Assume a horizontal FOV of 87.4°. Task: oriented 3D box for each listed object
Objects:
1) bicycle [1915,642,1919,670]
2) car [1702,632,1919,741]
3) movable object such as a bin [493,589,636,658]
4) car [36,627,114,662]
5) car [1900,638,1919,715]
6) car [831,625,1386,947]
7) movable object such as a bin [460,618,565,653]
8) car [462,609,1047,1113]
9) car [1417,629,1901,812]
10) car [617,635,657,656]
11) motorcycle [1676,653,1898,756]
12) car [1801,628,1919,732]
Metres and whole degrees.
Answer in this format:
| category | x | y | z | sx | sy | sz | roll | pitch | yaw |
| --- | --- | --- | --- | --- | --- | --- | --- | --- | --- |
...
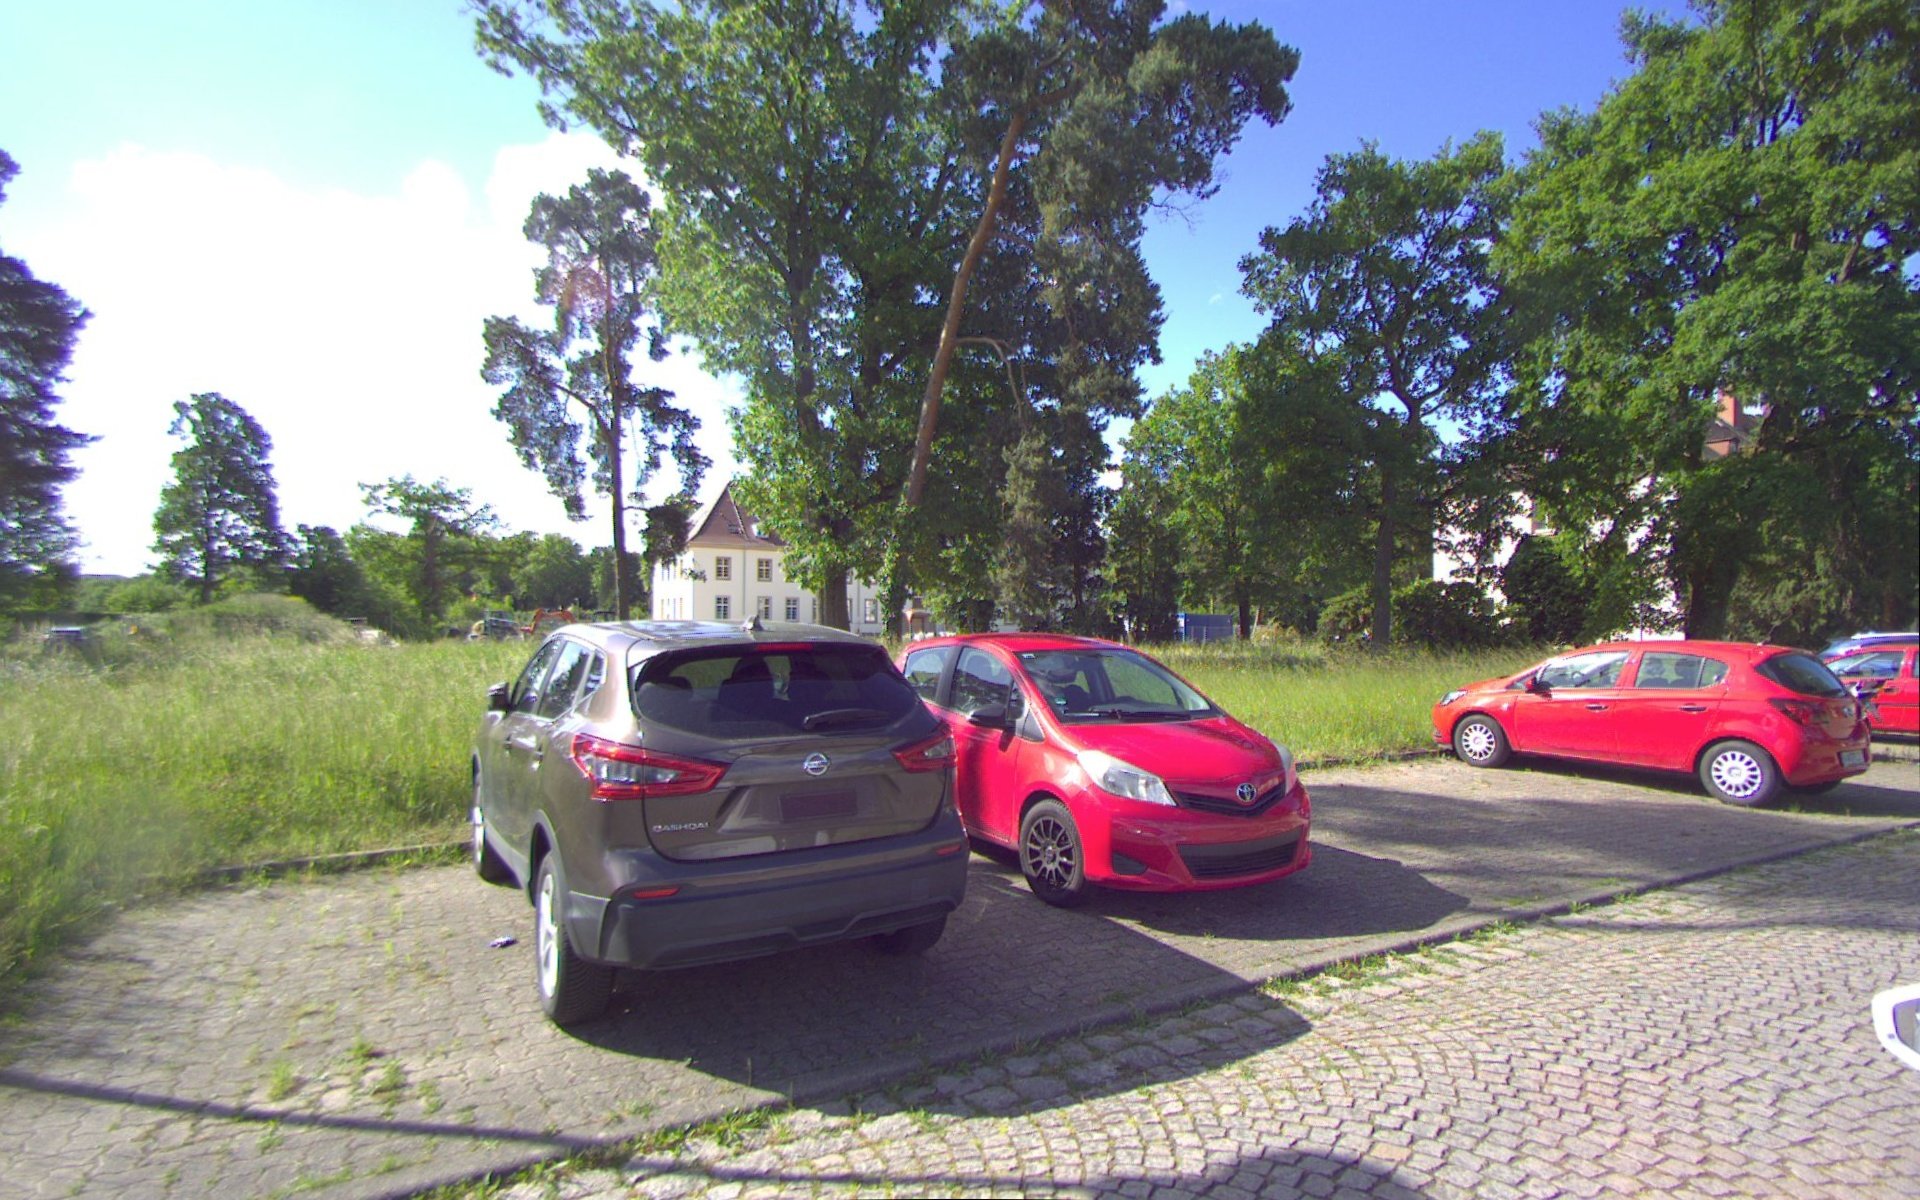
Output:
| category | x | y | z | sx | sy | sz | roll | pitch | yaw |
| --- | --- | --- | --- | --- | --- | --- | --- | --- | --- |
| bicycle | 39.979 | 2.275 | 40.615 | 1.888 | 1.117 | 0.568 | -2 | -1 | 37 |
| car | 13.788 | 1.249 | 15.060 | 1.819 | 1.452 | 3.907 | 1 | -1 | -28 |
| movable object such as a bin | -23.083 | 1.441 | 58.898 | 3.867 | 3.780 | 6.768 | -1 | -2 | 36 |
| car | -42.715 | 2.144 | 48.598 | 1.889 | 1.626 | 4.212 | 1 | -2 | -28 |
| car | 20.120 | 1.474 | 18.061 | 1.896 | 1.464 | 4.344 | 1 | -1 | -27 |
| car | 0.717 | 0.969 | 7.099 | 1.845 | 1.468 | 3.903 | 1 | 0 | -31 |
| movable object such as a bin | -27.682 | 2.193 | 62.184 | 5.565 | 2.153 | 2.530 | 0 | -2 | 16 |
| car | -1.466 | 0.869 | 5.473 | 1.951 | 1.589 | 3.933 | 0 | 0 | -31 |
| car | 7.235 | 1.099 | 10.814 | 1.821 | 1.480 | 3.903 | 1 | 0 | -31 |
| car | -29.629 | 4.182 | 92.091 | 1.981 | 1.878 | 4.087 | 2 | -3 | -42 |
| motorcycle | 10.901 | 1.334 | 13.353 | 0.570 | 1.177 | 2.233 | 1 | -1 | -28 |
| car | 16.110 | 1.270 | 15.755 | 1.862 | 1.600 | 4.116 | 1 | -1 | -29 |
